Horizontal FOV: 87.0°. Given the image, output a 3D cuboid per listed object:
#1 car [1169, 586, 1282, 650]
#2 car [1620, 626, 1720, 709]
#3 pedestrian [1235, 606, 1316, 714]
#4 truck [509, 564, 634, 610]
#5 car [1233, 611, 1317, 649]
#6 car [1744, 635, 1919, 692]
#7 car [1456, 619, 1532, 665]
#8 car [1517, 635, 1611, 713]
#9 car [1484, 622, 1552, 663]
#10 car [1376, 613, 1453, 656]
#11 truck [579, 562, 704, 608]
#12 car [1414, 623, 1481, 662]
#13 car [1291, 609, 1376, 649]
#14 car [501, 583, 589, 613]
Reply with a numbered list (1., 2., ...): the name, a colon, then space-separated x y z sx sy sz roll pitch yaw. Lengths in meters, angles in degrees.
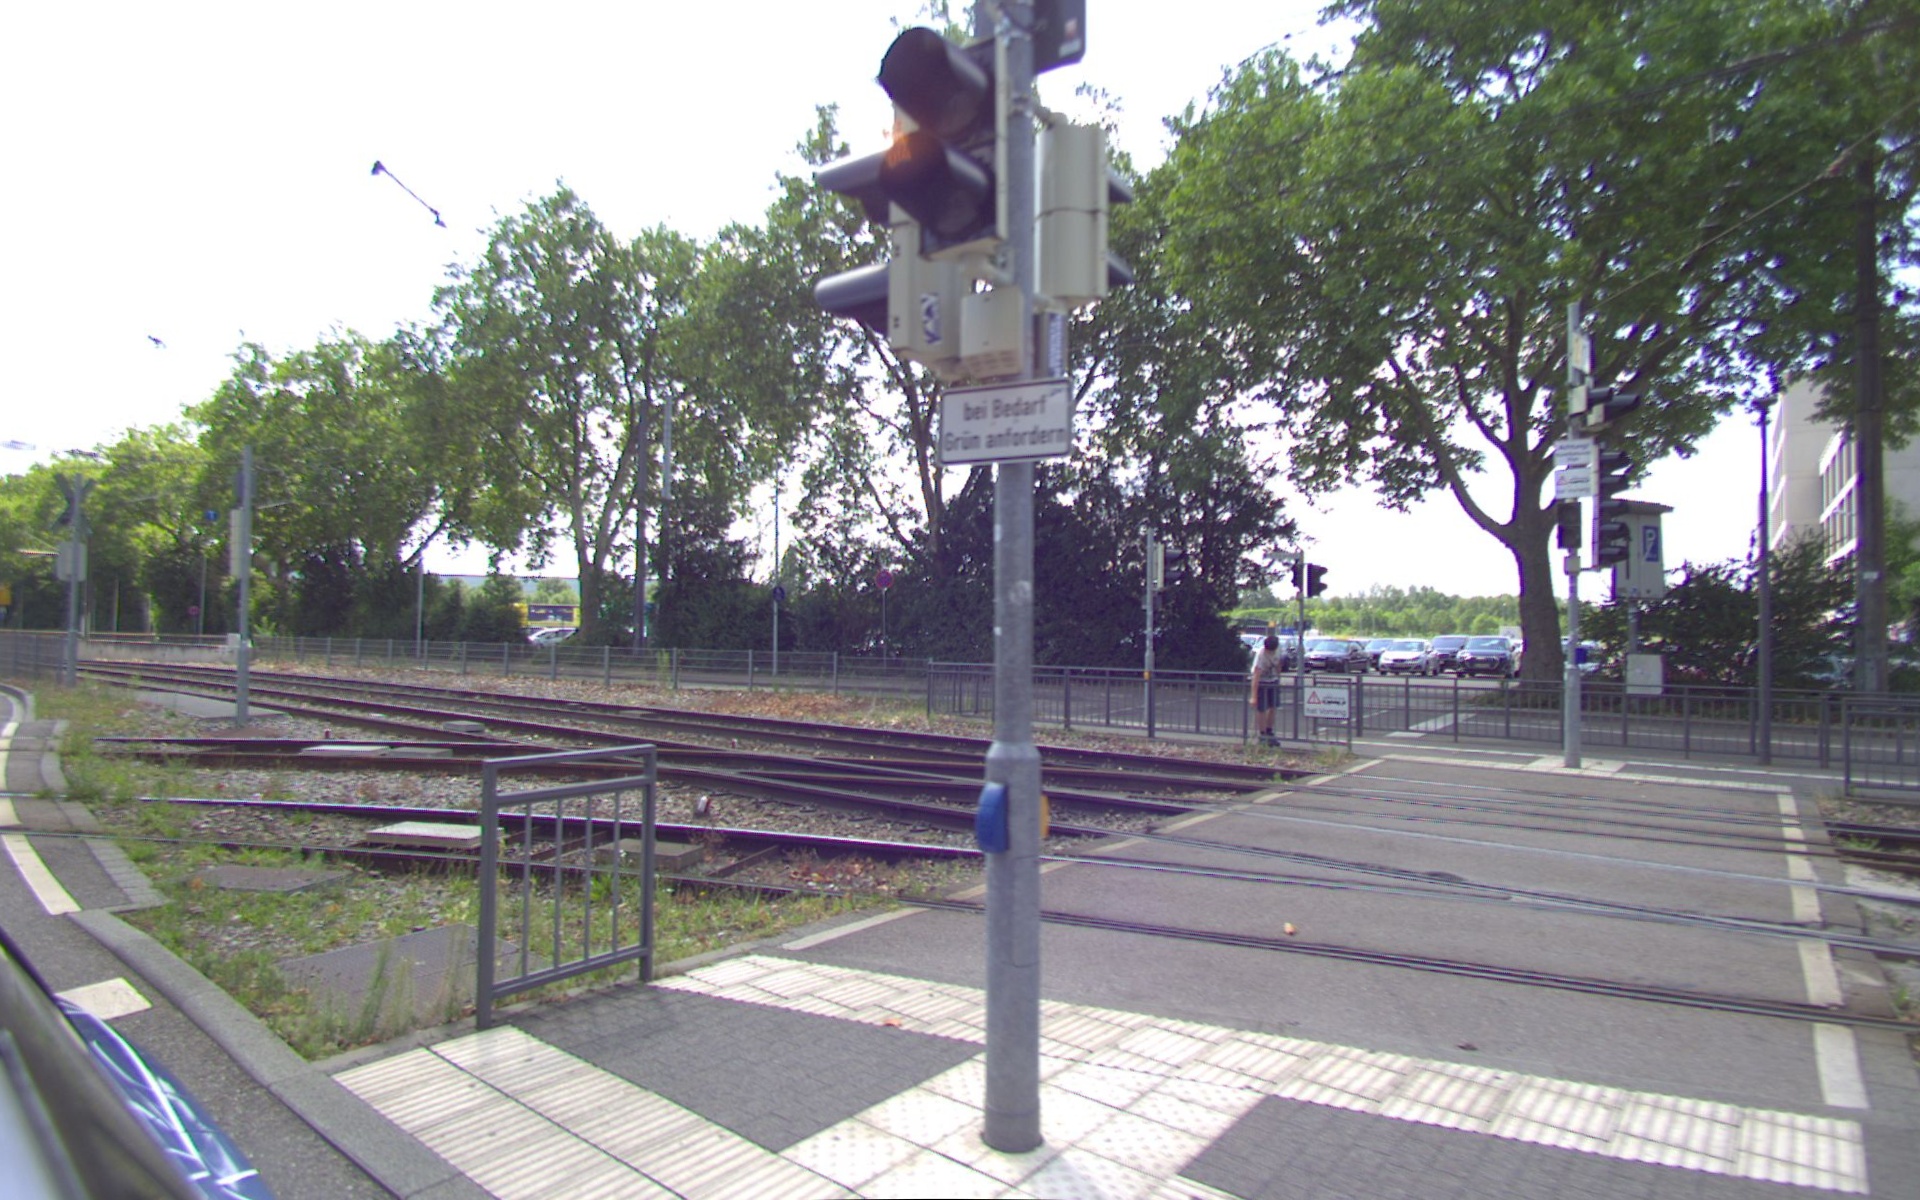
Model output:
1. car: 8.528 0.613 32.330 1.998 1.845 4.057 0 -3 39
2. car: 16.763 1.536 23.986 1.799 1.763 3.953 0 -2 35
3. pedestrian: 4.185 0.781 13.396 0.860 1.353 0.914 1 -3 27
4. truck: -41.376 -1.254 108.511 2.745 4.105 12.661 0 -3 39
5. car: 13.133 1.229 42.094 1.831 1.497 3.944 0 -1 42
6. car: 25.659 1.839 29.827 3.994 1.487 1.781 0 -2 38
7. car: 19.633 1.486 37.144 1.776 1.438 3.948 0 1 39
8. car: 15.382 1.813 25.681 1.799 1.763 3.953 0 -2 35
9. car: 22.697 1.690 41.113 1.776 1.438 3.948 0 1 39
10. car: 17.541 1.288 38.968 1.776 1.438 3.948 0 1 39
11. truck: -23.775 -1.060 76.004 2.706 2.814 8.737 0 -3 42
12. car: 20.884 1.764 43.313 1.776 1.438 3.948 0 1 39
13. car: 15.008 1.184 40.548 1.831 1.497 3.944 1 -1 42
14. car: -22.404 -0.083 54.729 1.997 1.453 3.948 0 -2 38
